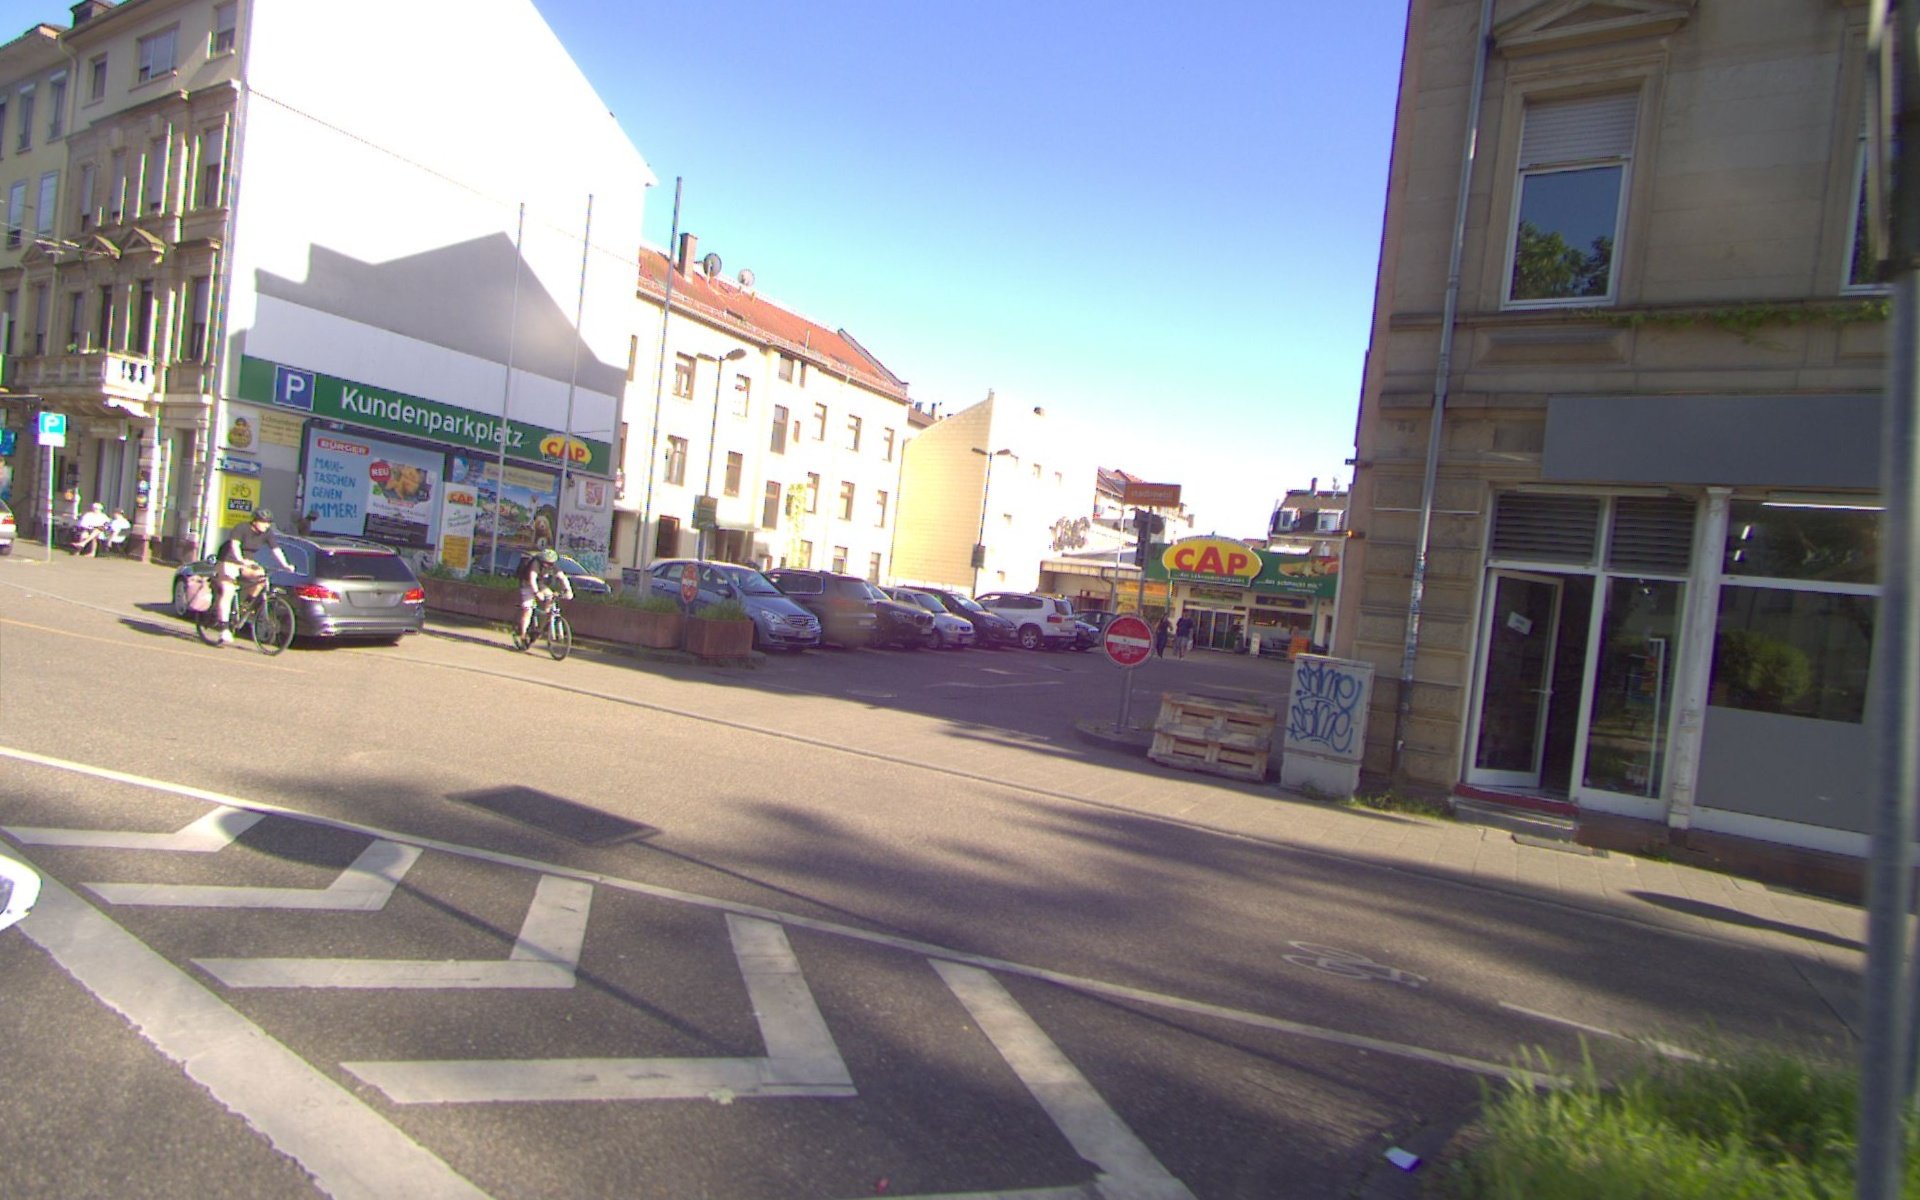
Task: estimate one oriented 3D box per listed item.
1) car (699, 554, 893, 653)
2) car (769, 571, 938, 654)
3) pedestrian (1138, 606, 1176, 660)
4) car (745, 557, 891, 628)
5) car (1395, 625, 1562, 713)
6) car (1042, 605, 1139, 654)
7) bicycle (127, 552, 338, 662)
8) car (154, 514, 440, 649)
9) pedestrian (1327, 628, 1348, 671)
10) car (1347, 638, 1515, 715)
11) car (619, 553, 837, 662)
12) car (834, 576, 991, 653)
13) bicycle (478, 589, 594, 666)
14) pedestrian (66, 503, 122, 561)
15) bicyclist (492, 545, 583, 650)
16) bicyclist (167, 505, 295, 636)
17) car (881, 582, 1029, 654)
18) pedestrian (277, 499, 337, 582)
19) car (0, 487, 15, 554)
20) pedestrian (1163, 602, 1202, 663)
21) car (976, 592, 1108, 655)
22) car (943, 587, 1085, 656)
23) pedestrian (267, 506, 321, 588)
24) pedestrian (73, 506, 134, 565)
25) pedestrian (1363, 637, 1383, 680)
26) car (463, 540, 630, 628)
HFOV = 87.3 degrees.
[{"bbox_3d":[-3.708,0.078,22.621,3.931,1.714,1.747,7,0,29],"label":"car"},{"bbox_3d":[-2.680,0.302,24.973,3.871,1.564,1.544,7,1,29],"label":"car"},{"bbox_3d":[7.097,1.183,36.275,0.908,1.818,0.817,7,1,31],"label":"pedestrian"},{"bbox_3d":[-4.505,-0.241,31.747,4.309,1.687,1.756,7,1,31],"label":"car"},{"bbox_3d":[18.426,2.414,35.930,4.816,2.443,1.702,7,1,42],"label":"car"},{"bbox_3d":[4.932,1.120,37.964,3.148,1.431,1.543,7,1,30],"label":"car"},{"bbox_3d":[-9.089,0.089,12.647,1.922,1.116,0.757,7,1,-12],"label":"bicycle"},{"bbox_3d":[-10.122,-0.333,15.250,4.655,1.507,1.832,7,3,32],"label":"car"},{"bbox_3d":[18.783,2.462,50.083,0.636,2.039,0.561,7,2,31],"label":"pedestrian"},{"bbox_3d":[12.059,1.919,25.815,3.586,1.481,1.677,6,0,33],"label":"car"},{"bbox_3d":[-4.652,0.142,20.079,3.930,1.665,1.748,7,0,28],"label":"car"},{"bbox_3d":[-1.301,0.387,26.917,3.871,1.564,1.543,7,1,30],"label":"car"},{"bbox_3d":[-6.515,0.397,15.427,1.886,0.933,0.649,7,5,32],"label":"bicycle"},{"bbox_3d":[-21.373,-1.671,24.826,0.598,1.297,0.798,7,1,29],"label":"pedestrian"},{"bbox_3d":[-6.468,-0.049,15.400,1.162,1.466,0.676,7,5,32],"label":"bicyclist"},{"bbox_3d":[-9.143,-0.354,12.662,0.936,1.479,0.745,7,0,-12],"label":"bicyclist"},{"bbox_3d":[-0.161,0.499,28.846,3.871,1.564,1.543,7,1,30],"label":"car"},{"bbox_3d":[-15.619,-1.413,24.073,0.734,1.865,0.762,7,1,10],"label":"pedestrian"},{"bbox_3d":[-22.958,-1.939,22.576,3.937,1.435,1.562,7,4,31],"label":"car"},{"bbox_3d":[7.918,1.173,35.754,0.908,2.039,0.817,7,1,31],"label":"pedestrian"},{"bbox_3d":[2.637,0.759,32.766,3.871,1.564,1.543,7,1,30],"label":"car"},{"bbox_3d":[1.633,0.639,30.817,3.871,1.601,1.658,7,1,30],"label":"car"},{"bbox_3d":[-15.351,-1.207,23.189,0.503,1.778,0.762,7,1,11],"label":"pedestrian"},{"bbox_3d":[-20.824,-1.565,24.458,0.644,1.298,0.902,7,3,26],"label":"pedestrian"},{"bbox_3d":[20.281,2.859,49.362,0.636,2.039,0.561,7,1,29],"label":"pedestrian"},{"bbox_3d":[-9.239,-0.365,22.442,3.335,1.504,1.561,7,1,28],"label":"car"}]
